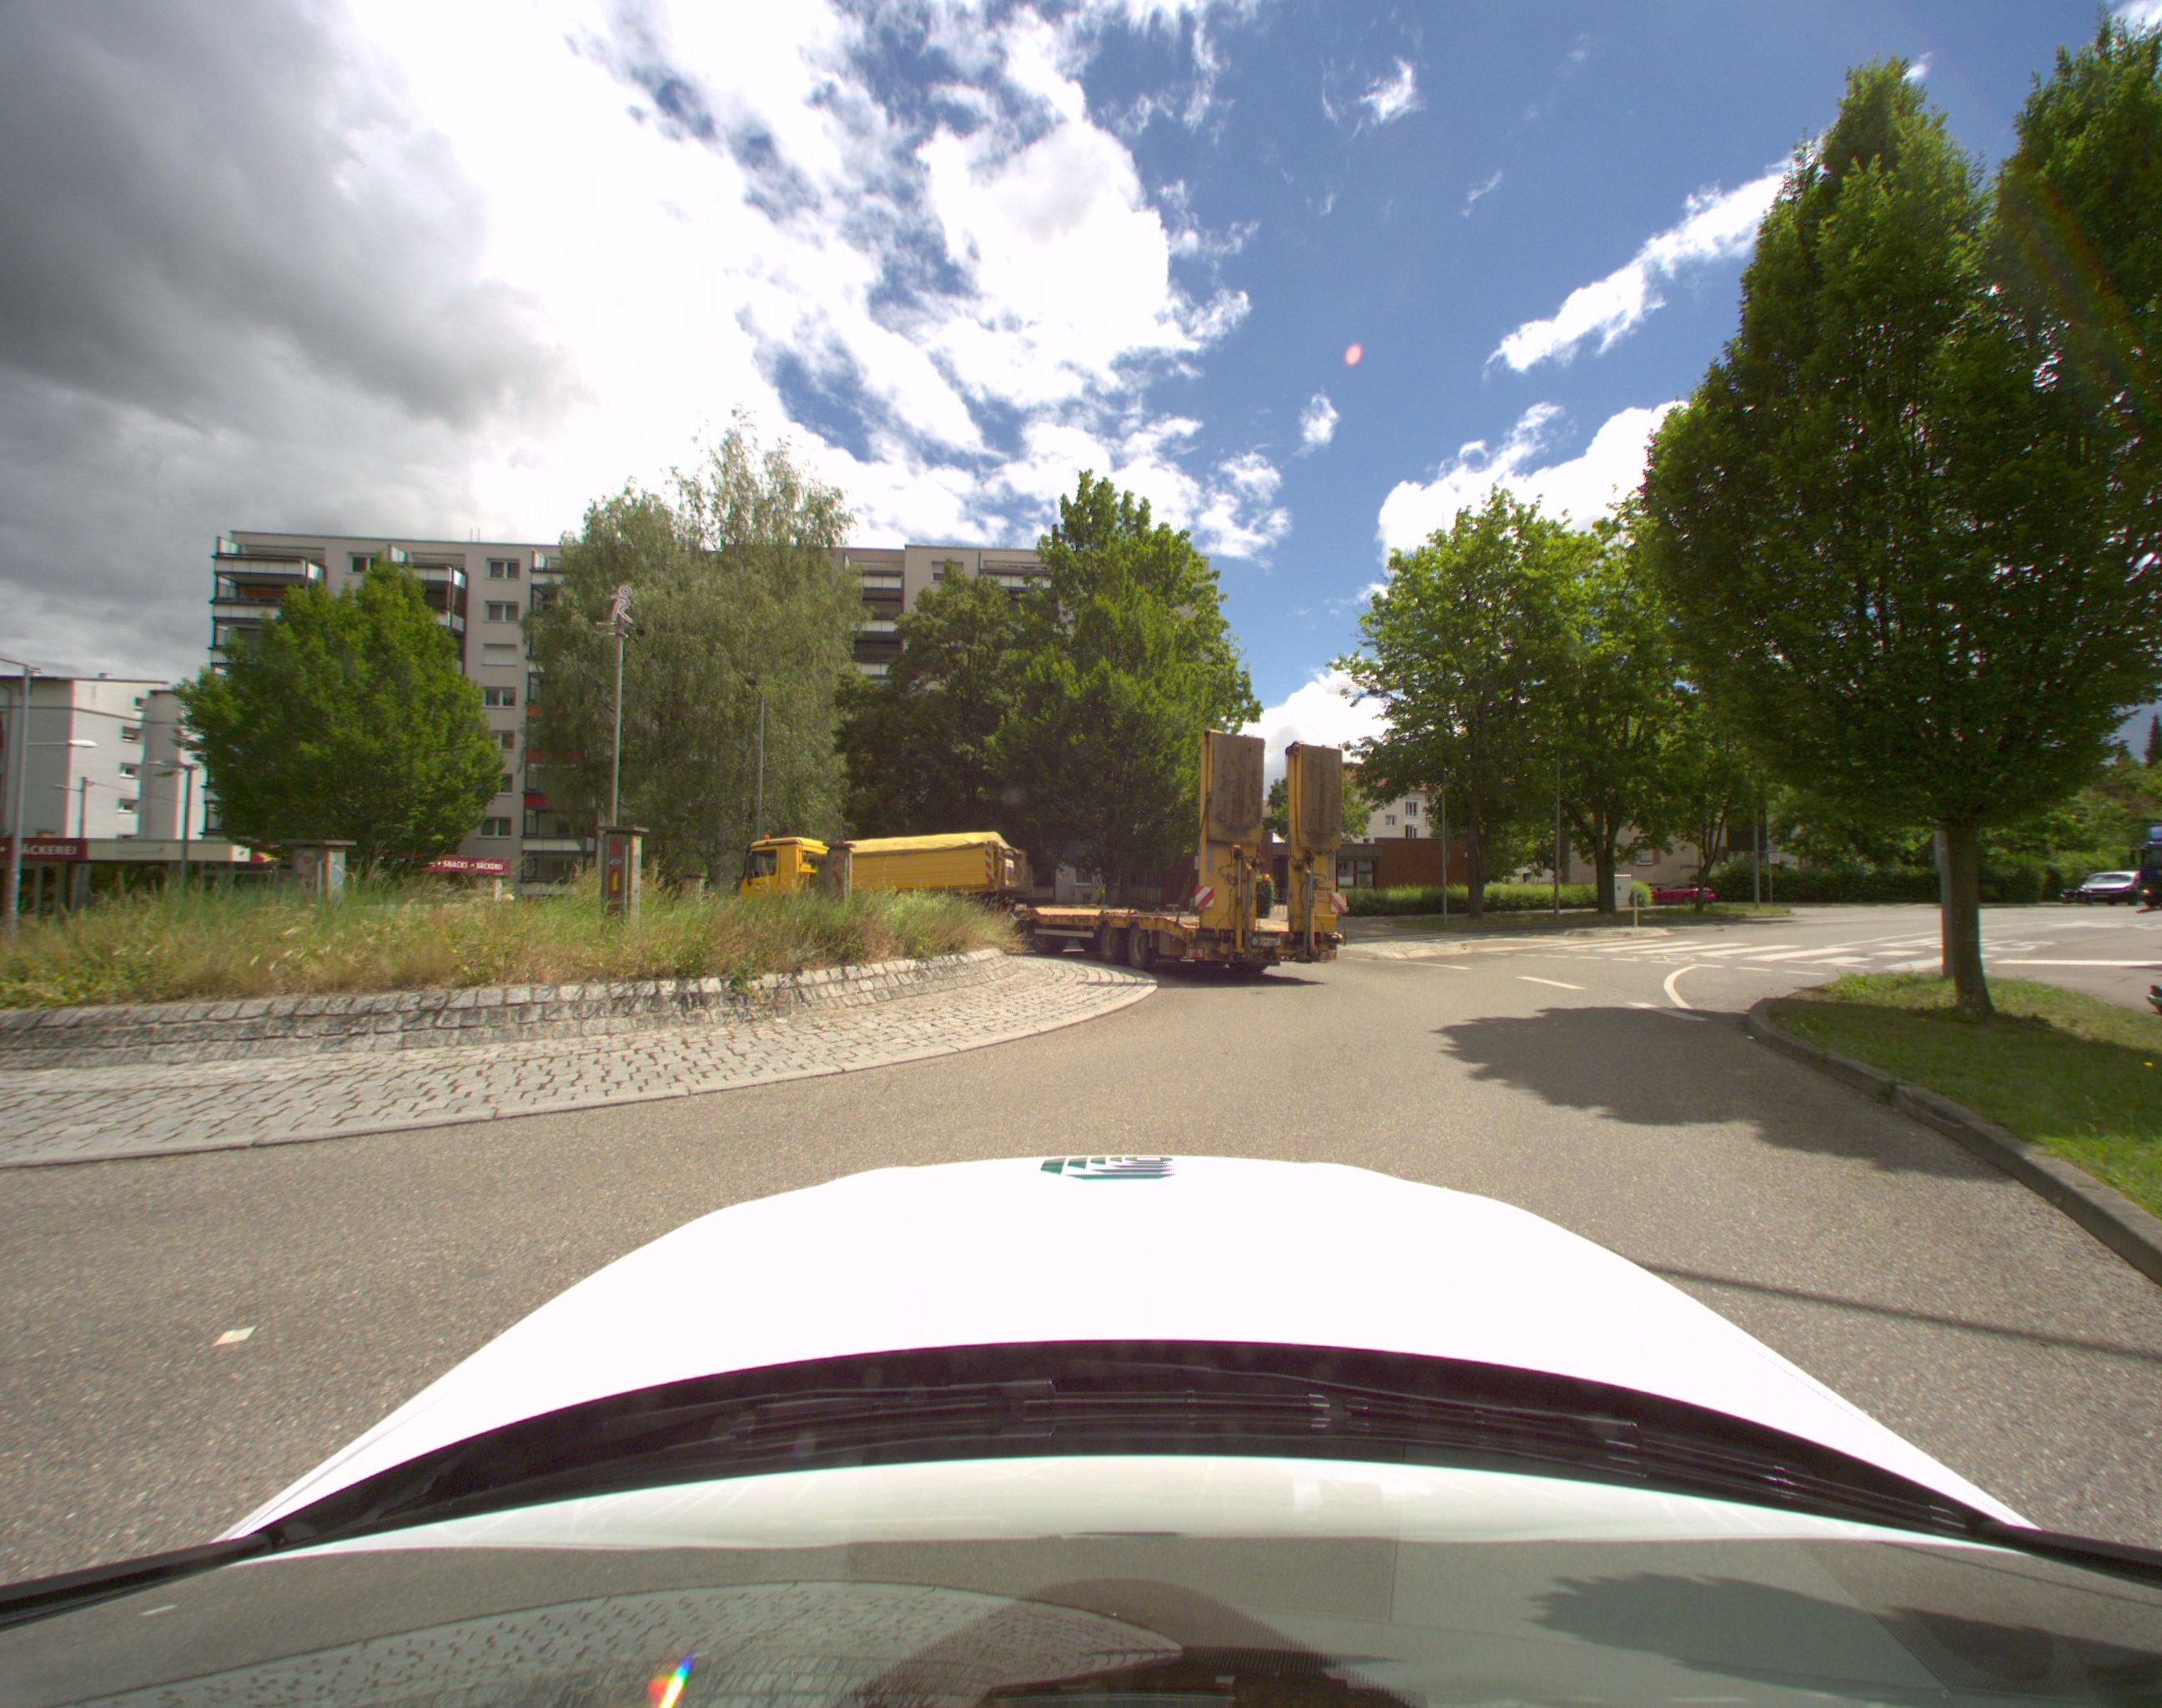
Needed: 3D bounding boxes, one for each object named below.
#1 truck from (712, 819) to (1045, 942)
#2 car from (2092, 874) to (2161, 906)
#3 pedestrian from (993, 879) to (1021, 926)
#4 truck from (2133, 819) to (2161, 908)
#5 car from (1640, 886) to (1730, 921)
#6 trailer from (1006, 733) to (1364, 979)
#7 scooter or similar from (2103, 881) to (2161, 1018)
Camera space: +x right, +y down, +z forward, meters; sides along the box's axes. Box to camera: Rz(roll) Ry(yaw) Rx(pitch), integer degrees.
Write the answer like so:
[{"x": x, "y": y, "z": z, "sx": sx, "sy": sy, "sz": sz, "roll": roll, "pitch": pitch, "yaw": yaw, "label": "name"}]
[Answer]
[{"x": -5.462, "y": 0.735, "z": 22.397, "sx": 8.398, "sy": 3.035, "sz": 3.008, "roll": -1, "pitch": -2, "yaw": 13, "label": "truck"}, {"x": 54.819, "y": 1.879, "z": 42.267, "sx": 4.004, "sy": 1.553, "sz": 1.984, "roll": 2, "pitch": -2, "yaw": -24, "label": "car"}, {"x": -2.626, "y": 1.707, "z": 28.899, "sx": 0.839, "sy": 1.579, "sz": 0.717, "roll": -3, "pitch": -2, "yaw": -14, "label": "pedestrian"}, {"x": 55.085, "y": 0.498, "z": 39.004, "sx": 9.797, "sy": 4.153, "sz": 2.771, "roll": 1, "pitch": -3, "yaw": -20, "label": "truck"}, {"x": 36.485, "y": 2.944, "z": 49.285, "sx": 2.018, "sy": 1.942, "sz": 3.974, "roll": 2, "pitch": -2, "yaw": -19, "label": "car"}, {"x": 1.136, "y": 0.207, "z": 16.737, "sx": 2.872, "sy": 3.373, "sz": 10.771, "roll": 2, "pitch": -2, "yaw": -19, "label": "trailer"}, {"x": 11.324, "y": 0.978, "z": 8.438, "sx": 0.480, "sy": 1.343, "sz": 1.397, "roll": -2, "pitch": -1, "yaw": 34, "label": "scooter or similar"}]
